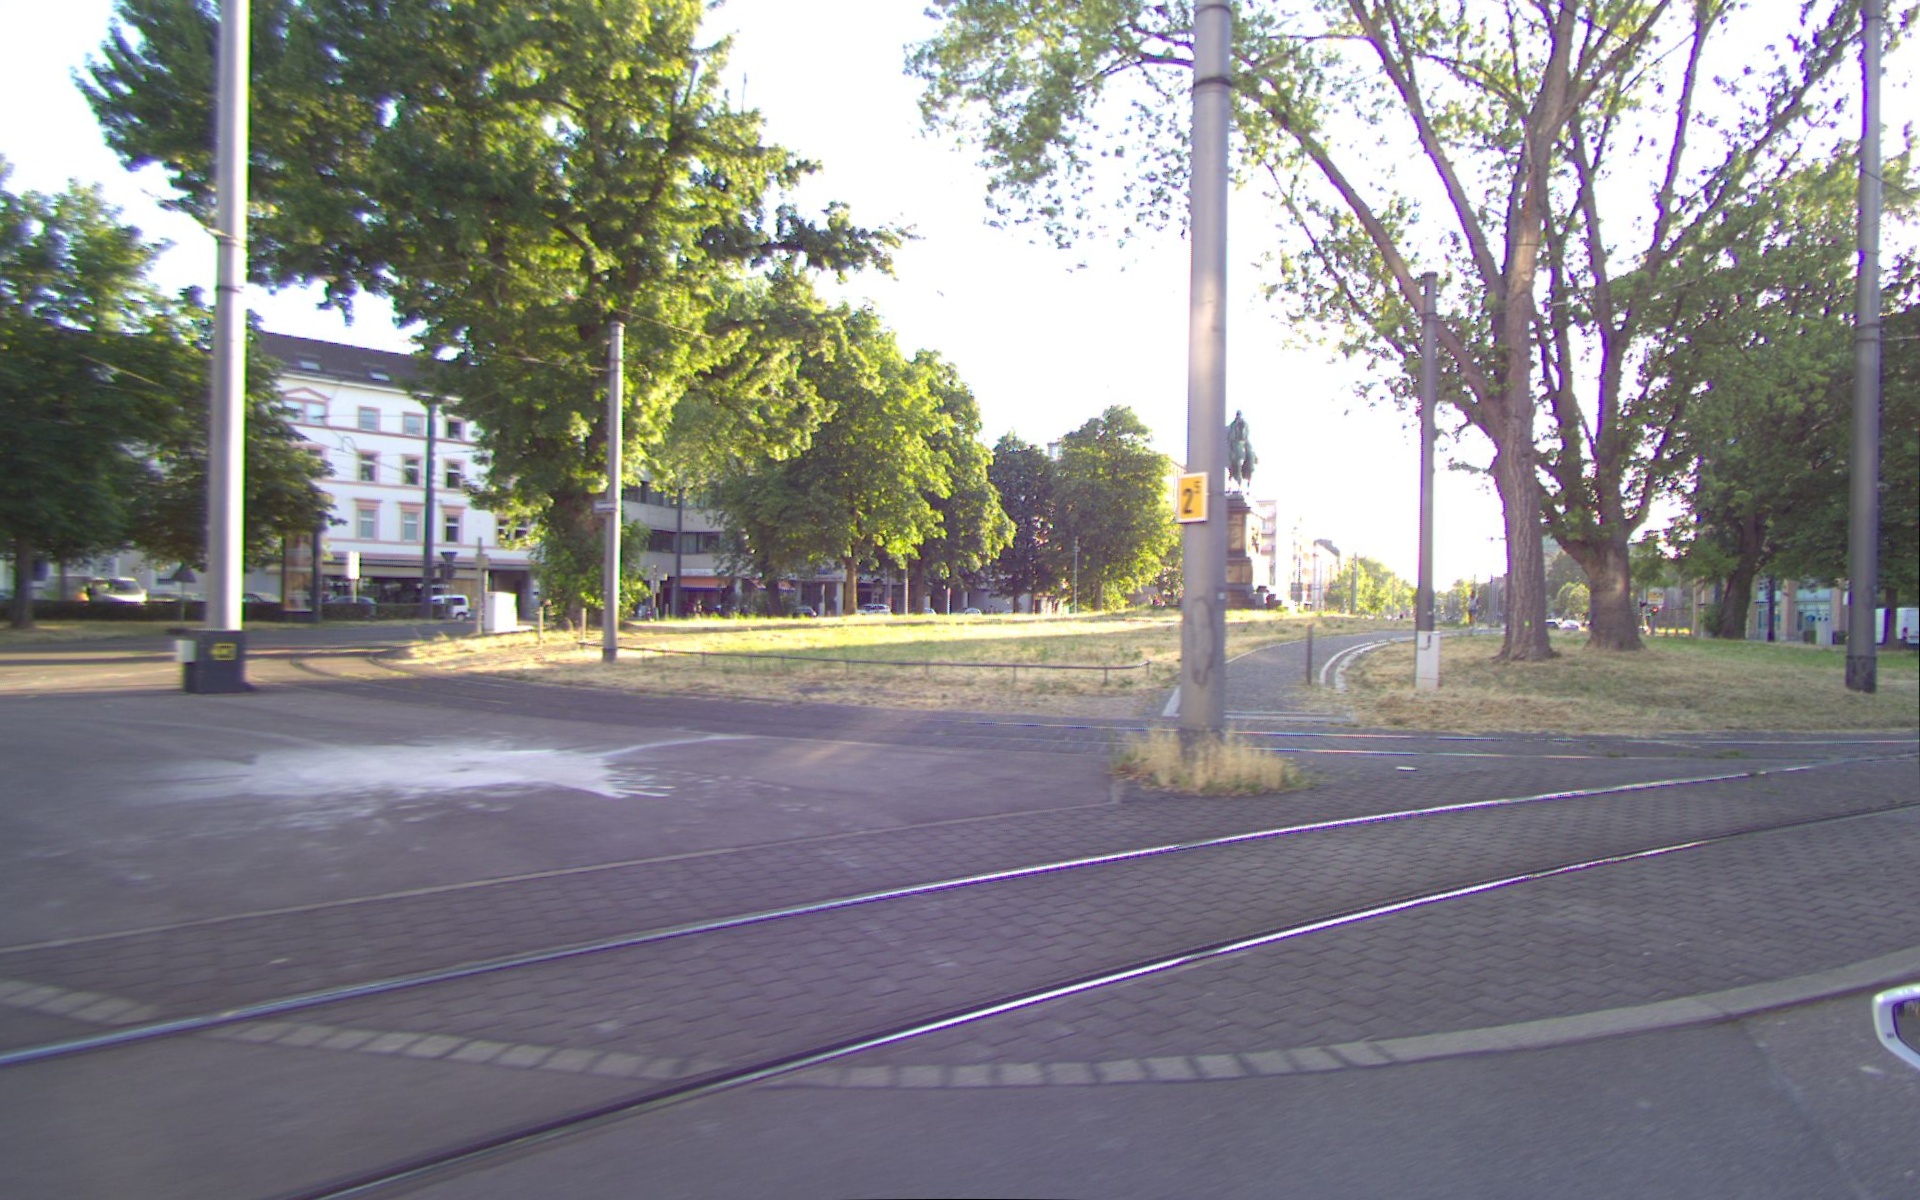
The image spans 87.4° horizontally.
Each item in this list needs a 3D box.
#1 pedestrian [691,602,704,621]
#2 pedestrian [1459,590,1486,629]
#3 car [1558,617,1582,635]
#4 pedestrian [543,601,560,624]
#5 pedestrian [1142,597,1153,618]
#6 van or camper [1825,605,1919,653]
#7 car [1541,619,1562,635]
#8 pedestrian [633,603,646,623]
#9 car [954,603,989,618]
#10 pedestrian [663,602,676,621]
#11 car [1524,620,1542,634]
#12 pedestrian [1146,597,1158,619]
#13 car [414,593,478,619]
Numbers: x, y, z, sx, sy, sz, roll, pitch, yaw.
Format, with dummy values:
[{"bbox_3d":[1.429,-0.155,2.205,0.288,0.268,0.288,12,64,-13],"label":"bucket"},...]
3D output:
[{"bbox_3d":[-21.117,0.925,80.797,0.765,1.523,0.736,0,0,-40],"label":"pedestrian"},{"bbox_3d":[21.316,0.405,41.804,0.759,1.627,0.636,0,0,-16],"label":"pedestrian"},{"bbox_3d":[74.600,3.165,122.835,2.105,2.040,3.996,1,0,26],"label":"car"},{"bbox_3d":[-27.107,0.844,66.609,0.730,1.523,0.772,0,0,11],"label":"pedestrian"},{"bbox_3d":[14.193,0.579,76.012,0.756,1.627,0.638,0,0,20],"label":"pedestrian"},{"bbox_3d":[51.716,1.553,55.969,2.563,2.505,6.323,0,0,12],"label":"van or camper"},{"bbox_3d":[80.412,3.649,136.561,2.105,2.040,3.996,1,0,26],"label":"car"},{"bbox_3d":[-24.588,1.006,77.053,0.765,1.523,0.736,0,0,-40],"label":"pedestrian"},{"bbox_3d":[1.153,0.992,99.436,1.849,1.439,3.919,0,0,28],"label":"car"},{"bbox_3d":[-22.689,0.908,78.532,0.765,1.523,0.736,0,0,-40],"label":"pedestrian"},{"bbox_3d":[88.477,4.103,155.068,2.105,2.040,3.996,1,0,26],"label":"car"},{"bbox_3d":[14.381,0.575,75.170,0.756,1.627,0.638,0,0,20],"label":"pedestrian"},{"bbox_3d":[-35.139,0.436,68.644,3.639,1.726,1.759,1,0,-38],"label":"car"}]
